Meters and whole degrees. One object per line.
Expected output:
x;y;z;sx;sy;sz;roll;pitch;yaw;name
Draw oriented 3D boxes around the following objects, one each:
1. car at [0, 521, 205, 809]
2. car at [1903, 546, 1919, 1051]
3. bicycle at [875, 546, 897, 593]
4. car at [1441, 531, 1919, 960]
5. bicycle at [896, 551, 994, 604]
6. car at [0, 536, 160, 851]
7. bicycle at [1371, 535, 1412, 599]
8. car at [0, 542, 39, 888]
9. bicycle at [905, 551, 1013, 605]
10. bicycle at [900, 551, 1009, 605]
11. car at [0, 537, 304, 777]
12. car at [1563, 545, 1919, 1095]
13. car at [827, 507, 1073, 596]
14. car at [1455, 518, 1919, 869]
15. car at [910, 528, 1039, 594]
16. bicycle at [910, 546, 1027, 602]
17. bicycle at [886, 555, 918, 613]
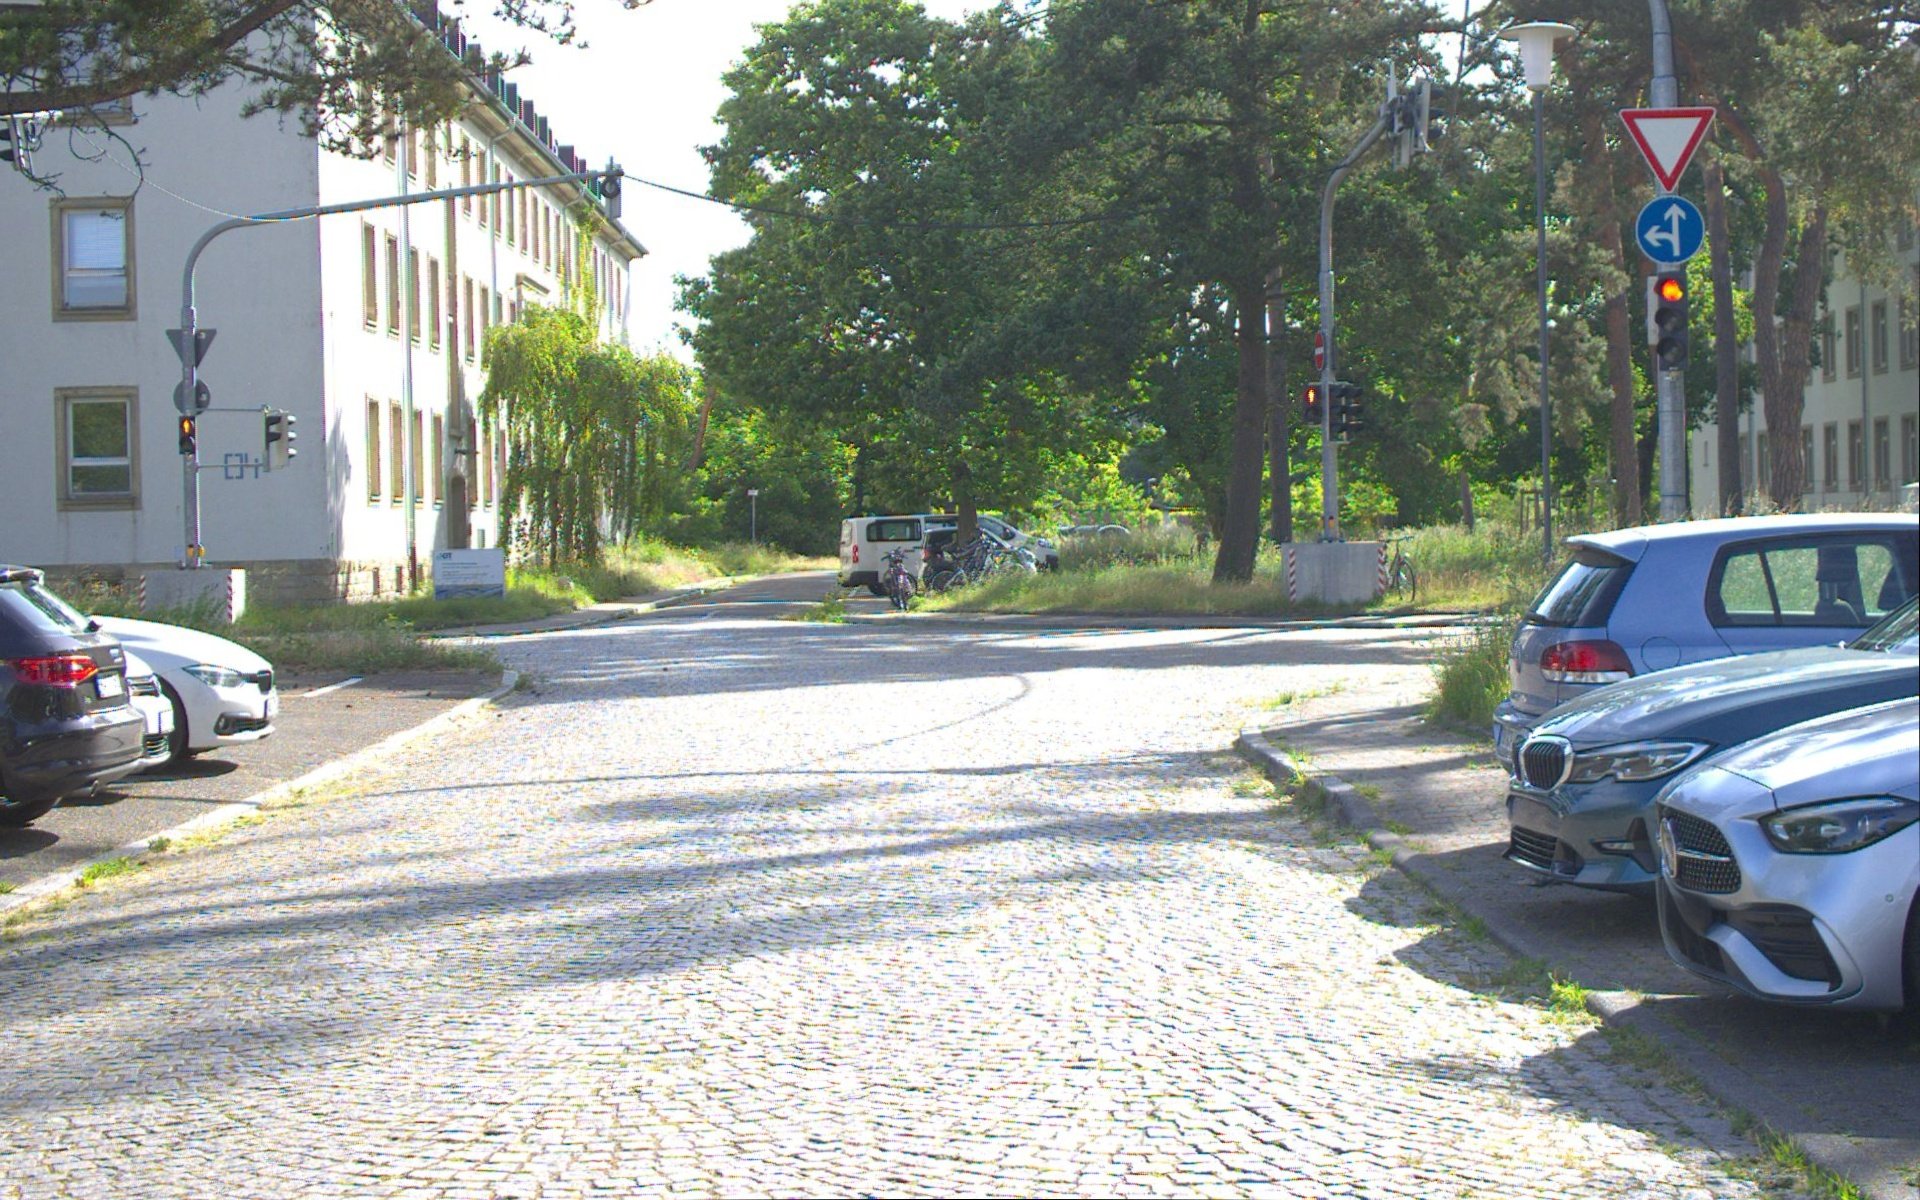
-6.668;0.318;20.224;4.080;1.588;1.886;1;2;-3;car
4.502;0.524;7.986;4.127;1.444;1.637;-2;2;0;car
-1.597;-0.657;74.113;0.417;1.006;1.483;1;1;0;bicycle
4.211;0.438;12.823;4.559;1.410;1.637;-2;2;0;car
-0.298;-0.447;67.931;1.837;1.006;0.636;1;0;-8;bicycle
-6.201;0.402;17.265;3.986;1.475;1.803;1;2;-3;car
6.564;-0.505;52.373;0.300;0.957;1.586;1;1;-4;bicycle
-6.001;0.470;14.635;3.746;1.482;1.646;1;2;-3;car
-0.025;-0.423;66.176;2.004;1.006;0.632;1;0;-8;bicycle
-0.110;-0.434;67.058;2.027;1.006;0.627;1;0;-8;bicycle
-6.629;0.323;22.574;4.333;1.463;1.831;1;2;-3;car
4.170;0.510;10.108;4.432;1.410;1.781;-2;2;0;car
-0.246;-1.159;82.508;5.520;2.007;2.001;1;1;-18;car
4.331;0.349;15.602;3.882;1.410;1.637;-2;2;0;car
0.319;-0.896;78.934;2.781;1.462;1.671;1;1;-5;car
0.157;-0.488;64.515;2.109;1.006;0.621;1;0;-8;bicycle
-1.028;-0.286;60.840;0.467;1.006;1.586;1;1;-4;bicycle
